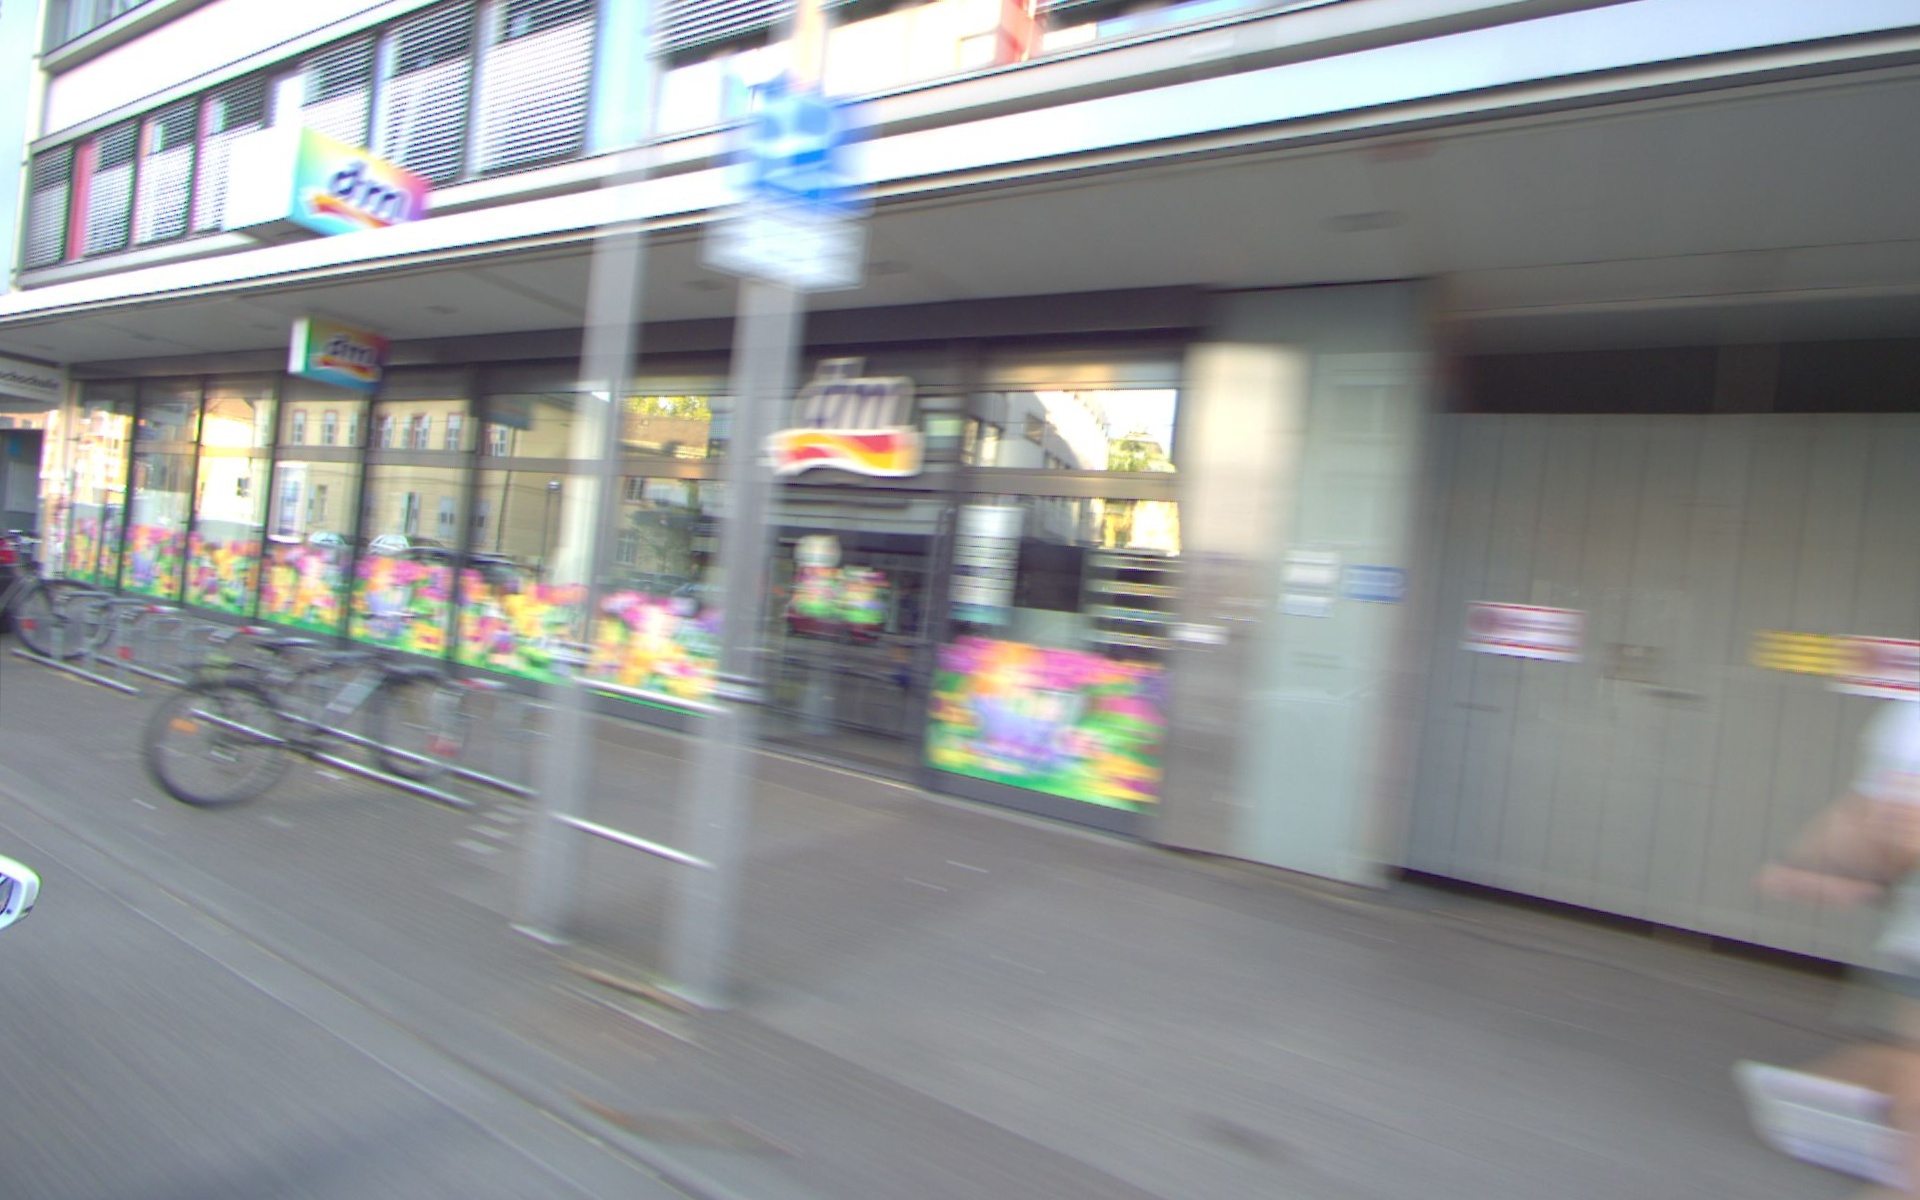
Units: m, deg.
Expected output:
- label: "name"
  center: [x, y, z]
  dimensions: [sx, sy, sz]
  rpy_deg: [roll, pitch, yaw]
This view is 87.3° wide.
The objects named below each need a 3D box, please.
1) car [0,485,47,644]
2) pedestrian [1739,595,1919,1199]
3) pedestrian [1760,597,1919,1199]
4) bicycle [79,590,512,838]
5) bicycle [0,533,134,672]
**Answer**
- label: "car"
  center: [-11.301, -0.559, 10.326]
  dimensions: [4.187, 1.532, 1.745]
  rpy_deg: [6, 1, 32]
- label: "pedestrian"
  center: [2.869, 0.917, 3.020]
  dimensions: [0.595, 1.775, 0.609]
  rpy_deg: [7, 1, 31]
- label: "pedestrian"
  center: [2.537, 0.911, 2.486]
  dimensions: [0.635, 1.749, 0.604]
  rpy_deg: [7, 1, 31]
- label: "bicycle"
  center: [-3.582, 0.551, 5.630]
  dimensions: [0.665, 1.091, 1.887]
  rpy_deg: [7, 2, 28]
- label: "bicycle"
  center: [-8.377, -0.004, 8.574]
  dimensions: [0.665, 1.152, 1.888]
  rpy_deg: [7, 0, 28]
